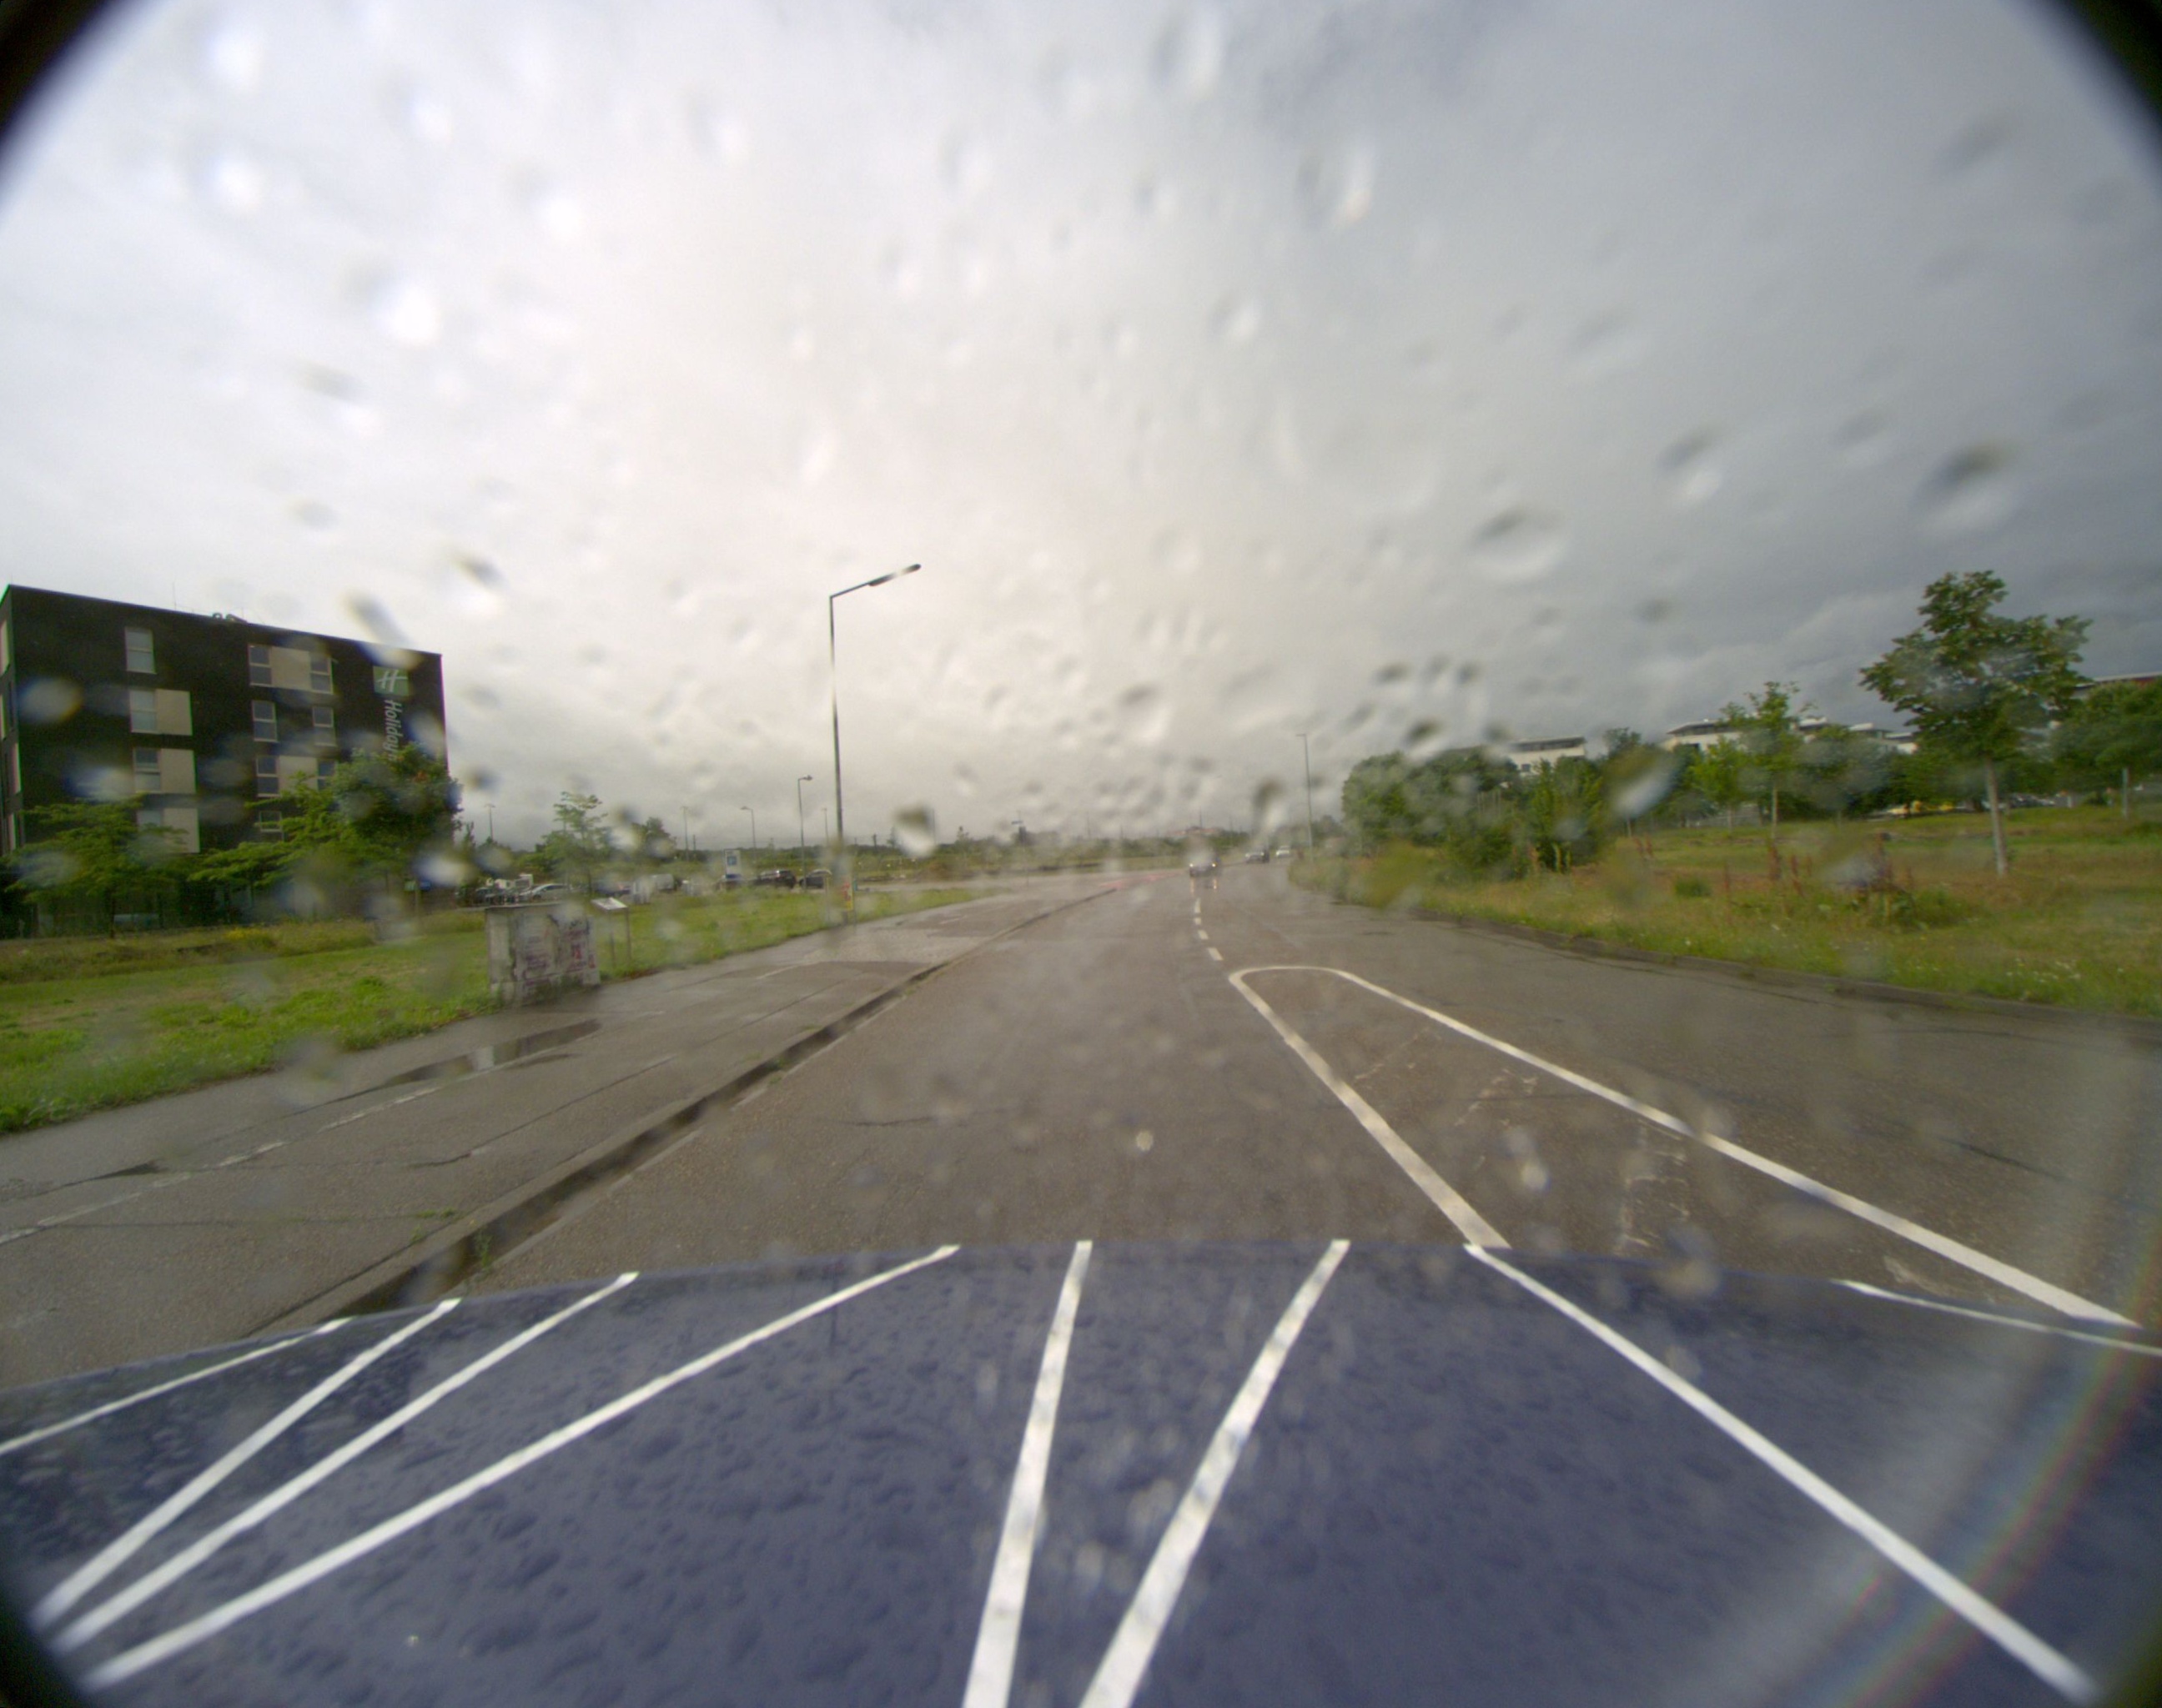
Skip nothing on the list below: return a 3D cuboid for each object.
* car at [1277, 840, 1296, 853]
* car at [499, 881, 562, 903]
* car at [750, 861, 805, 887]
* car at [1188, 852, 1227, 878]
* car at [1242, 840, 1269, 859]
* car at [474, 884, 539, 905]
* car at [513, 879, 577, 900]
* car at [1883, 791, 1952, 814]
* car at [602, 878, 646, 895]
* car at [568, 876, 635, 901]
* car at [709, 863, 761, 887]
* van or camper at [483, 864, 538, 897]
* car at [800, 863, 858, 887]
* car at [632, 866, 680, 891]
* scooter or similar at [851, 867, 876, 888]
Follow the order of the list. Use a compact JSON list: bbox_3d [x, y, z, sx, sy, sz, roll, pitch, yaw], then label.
[{"bbox_3d":[26.658,-0.967,98.539,1.839,1.510,4.363,-3,0,23],"label":"car"},{"bbox_3d":[-45.576,3.136,63.005,1.639,1.388,3.787,-5,0,31],"label":"car"},{"bbox_3d":[-25.399,1.656,63.532,3.991,1.717,2.003,-7,-1,27],"label":"car"},{"bbox_3d":[8.423,0.704,50.204,1.871,1.510,4.362,-1,1,18],"label":"car"},{"bbox_3d":[17.665,-0.491,76.813,2.007,1.695,4.335,-3,0,21],"label":"car"},{"bbox_3d":[-48.155,3.401,63.778,1.782,1.387,3.849,-7,-2,30],"label":"car"},{"bbox_3d":[-43.635,2.879,61.952,1.764,1.387,3.814,-7,-2,30],"label":"car"},{"bbox_3d":[125.861,-7.749,114.411,6.626,2.598,1.969,-5,0,24],"label":"car"},{"bbox_3d":[-45.042,3.213,74.840,3.990,1.406,2.003,-4,0,31],"label":"car"},{"bbox_3d":[-36.984,2.623,58.659,1.782,1.518,3.849,-7,-2,30],"label":"car"},{"bbox_3d":[-30.001,1.782,65.864,3.991,1.631,2.003,-7,-1,27],"label":"car"},{"bbox_3d":[-66.468,3.070,88.470,6.785,3.182,2.534,-7,-1,31],"label":"van or camper"},{"bbox_3d":[-20.108,1.651,60.621,3.990,1.609,2.002,-3,3,27],"label":"car"},{"bbox_3d":[-40.484,2.340,72.286,4.329,1.761,2.003,-9,-3,32],"label":"car"},{"bbox_3d":[-12.917,1.409,45.104,1.283,1.180,0.503,-2,-1,1],"label":"scooter or similar"}]
